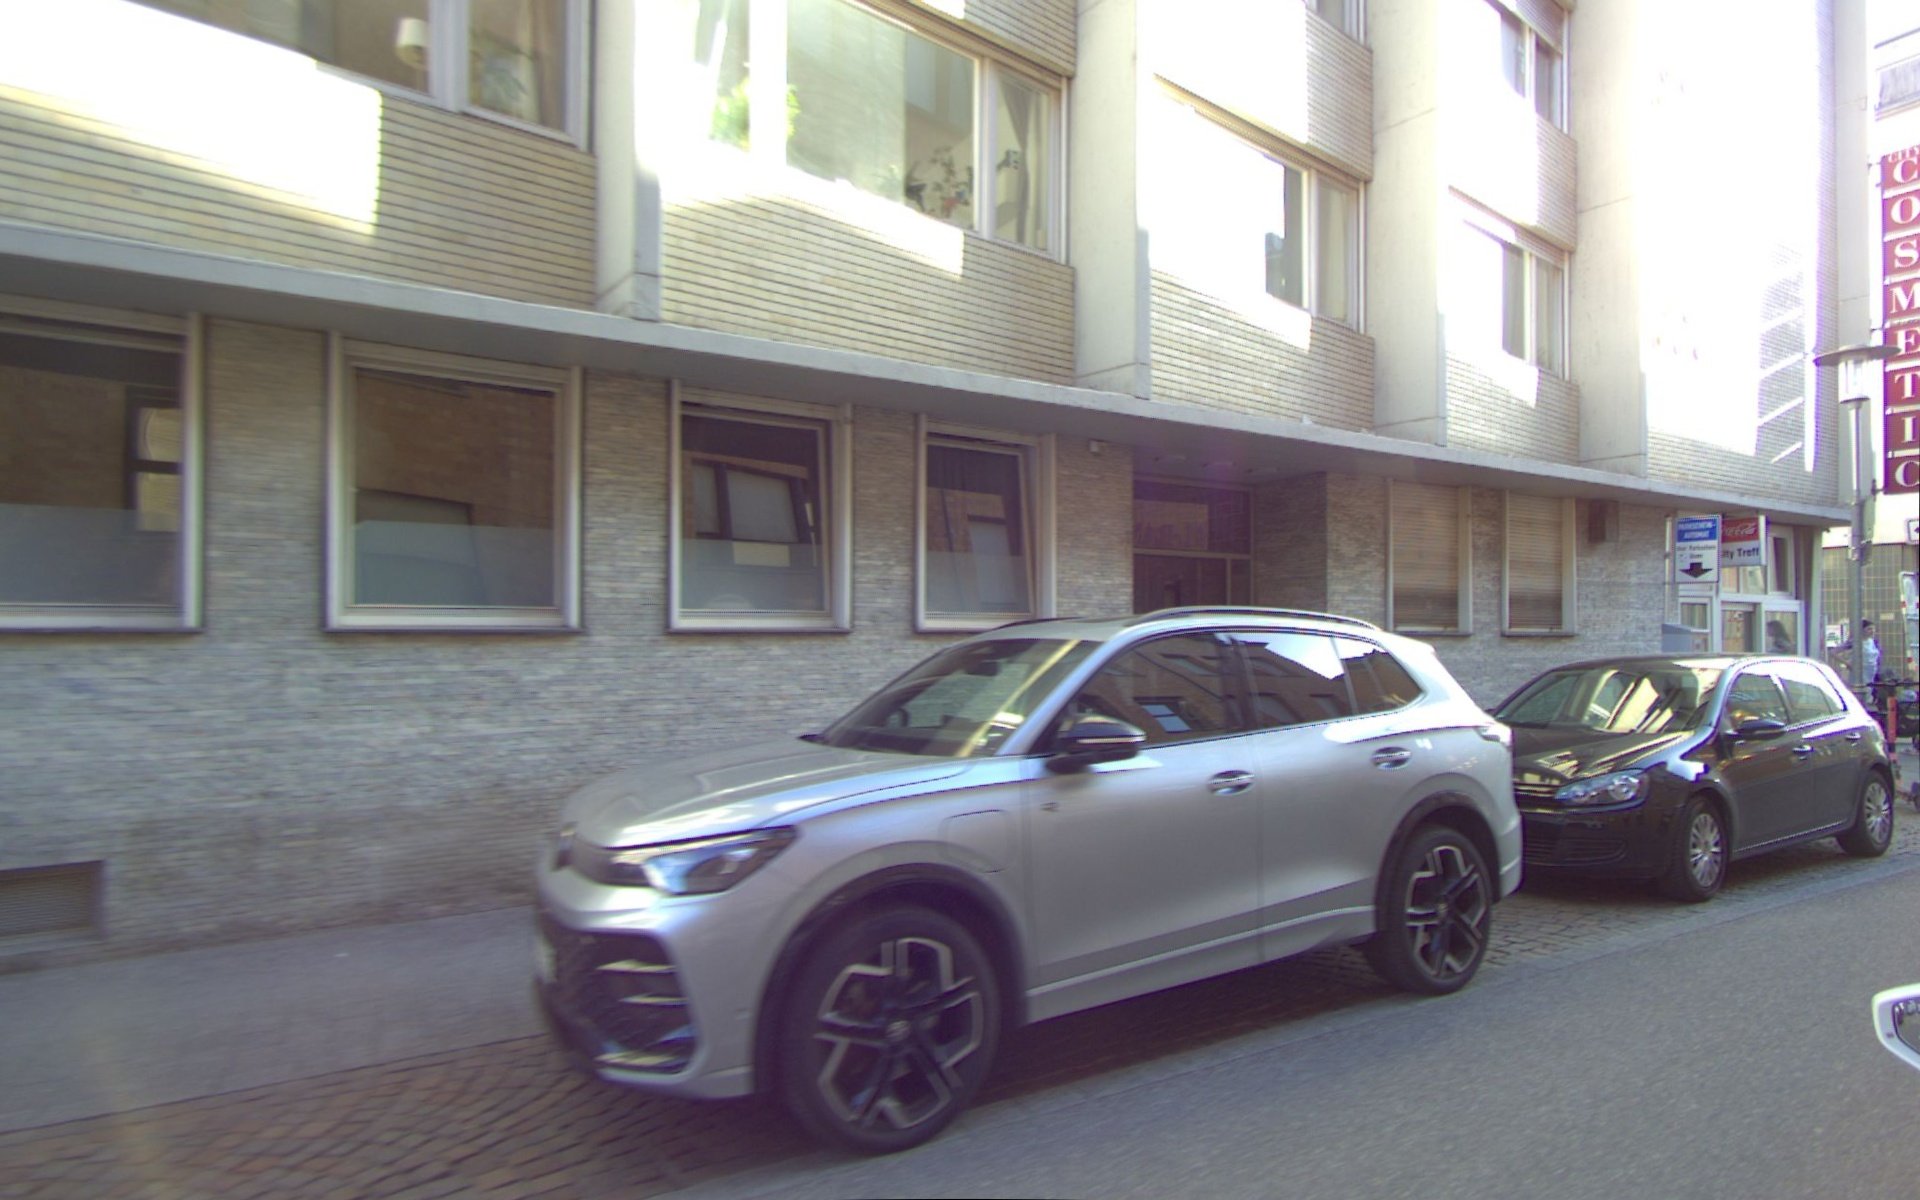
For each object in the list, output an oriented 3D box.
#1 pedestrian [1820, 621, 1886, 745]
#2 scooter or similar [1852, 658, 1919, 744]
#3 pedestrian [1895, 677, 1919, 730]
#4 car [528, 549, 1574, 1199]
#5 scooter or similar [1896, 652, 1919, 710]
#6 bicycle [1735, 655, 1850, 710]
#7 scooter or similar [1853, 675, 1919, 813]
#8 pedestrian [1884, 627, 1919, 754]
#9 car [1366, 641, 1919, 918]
[{"bbox_3d":[12.845,1.181,14.459,0.542,1.761,0.448,0,-1,-6],"label":"pedestrian"},{"bbox_3d":[13.768,1.475,14.817,0.778,1.177,0.634,2,0,31],"label":"scooter or similar"},{"bbox_3d":[14.070,1.509,14.592,0.574,0.724,0.645,0,-1,31],"label":"pedestrian"},{"bbox_3d":[0.540,0.810,4.451,4.338,1.765,1.881,1,-2,-30],"label":"car"},{"bbox_3d":[20.568,1.705,21.145,0.474,1.222,1.152,1,-3,-29],"label":"scooter or similar"},{"bbox_3d":[18.830,1.840,22.775,0.708,1.173,1.864,1,-3,-27],"label":"bicycle"},{"bbox_3d":[8.912,1.329,9.500,0.407,1.213,1.119,-5,-6,31],"label":"scooter or similar"},{"bbox_3d":[12.723,1.184,13.250,0.634,1.647,0.457,0,-1,19],"label":"pedestrian"},{"bbox_3d":[4.912,1.061,7.132,3.951,1.479,1.642,1,-4,-30],"label":"car"}]
